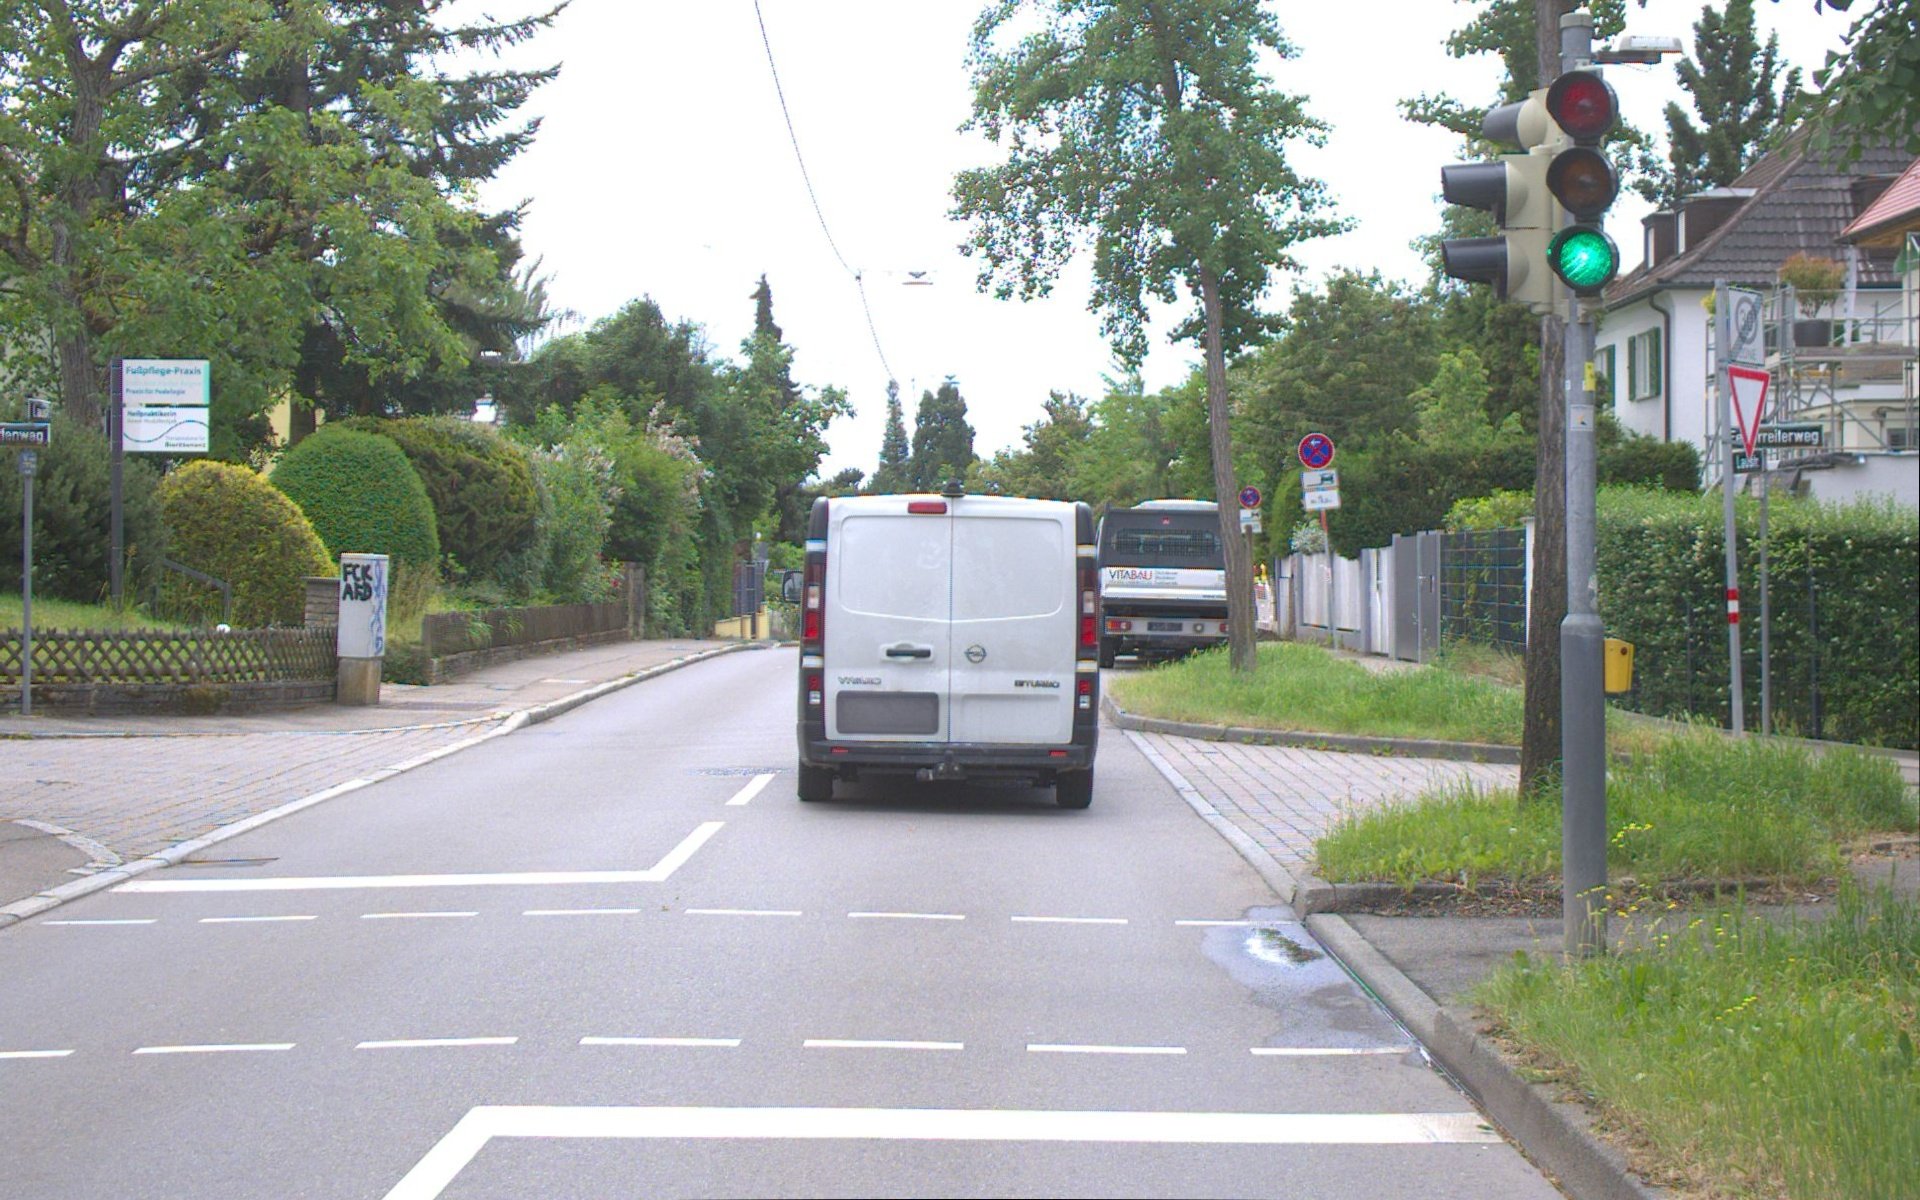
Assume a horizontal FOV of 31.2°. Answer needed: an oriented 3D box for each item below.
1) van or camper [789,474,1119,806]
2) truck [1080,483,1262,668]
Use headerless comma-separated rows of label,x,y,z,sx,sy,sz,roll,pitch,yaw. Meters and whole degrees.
van or camper,-0.047,0.262,22.814,1.939,1.947,4.765,1,-1,0
truck,2.974,-0.366,50.084,2.187,2.463,7.430,1,1,0
